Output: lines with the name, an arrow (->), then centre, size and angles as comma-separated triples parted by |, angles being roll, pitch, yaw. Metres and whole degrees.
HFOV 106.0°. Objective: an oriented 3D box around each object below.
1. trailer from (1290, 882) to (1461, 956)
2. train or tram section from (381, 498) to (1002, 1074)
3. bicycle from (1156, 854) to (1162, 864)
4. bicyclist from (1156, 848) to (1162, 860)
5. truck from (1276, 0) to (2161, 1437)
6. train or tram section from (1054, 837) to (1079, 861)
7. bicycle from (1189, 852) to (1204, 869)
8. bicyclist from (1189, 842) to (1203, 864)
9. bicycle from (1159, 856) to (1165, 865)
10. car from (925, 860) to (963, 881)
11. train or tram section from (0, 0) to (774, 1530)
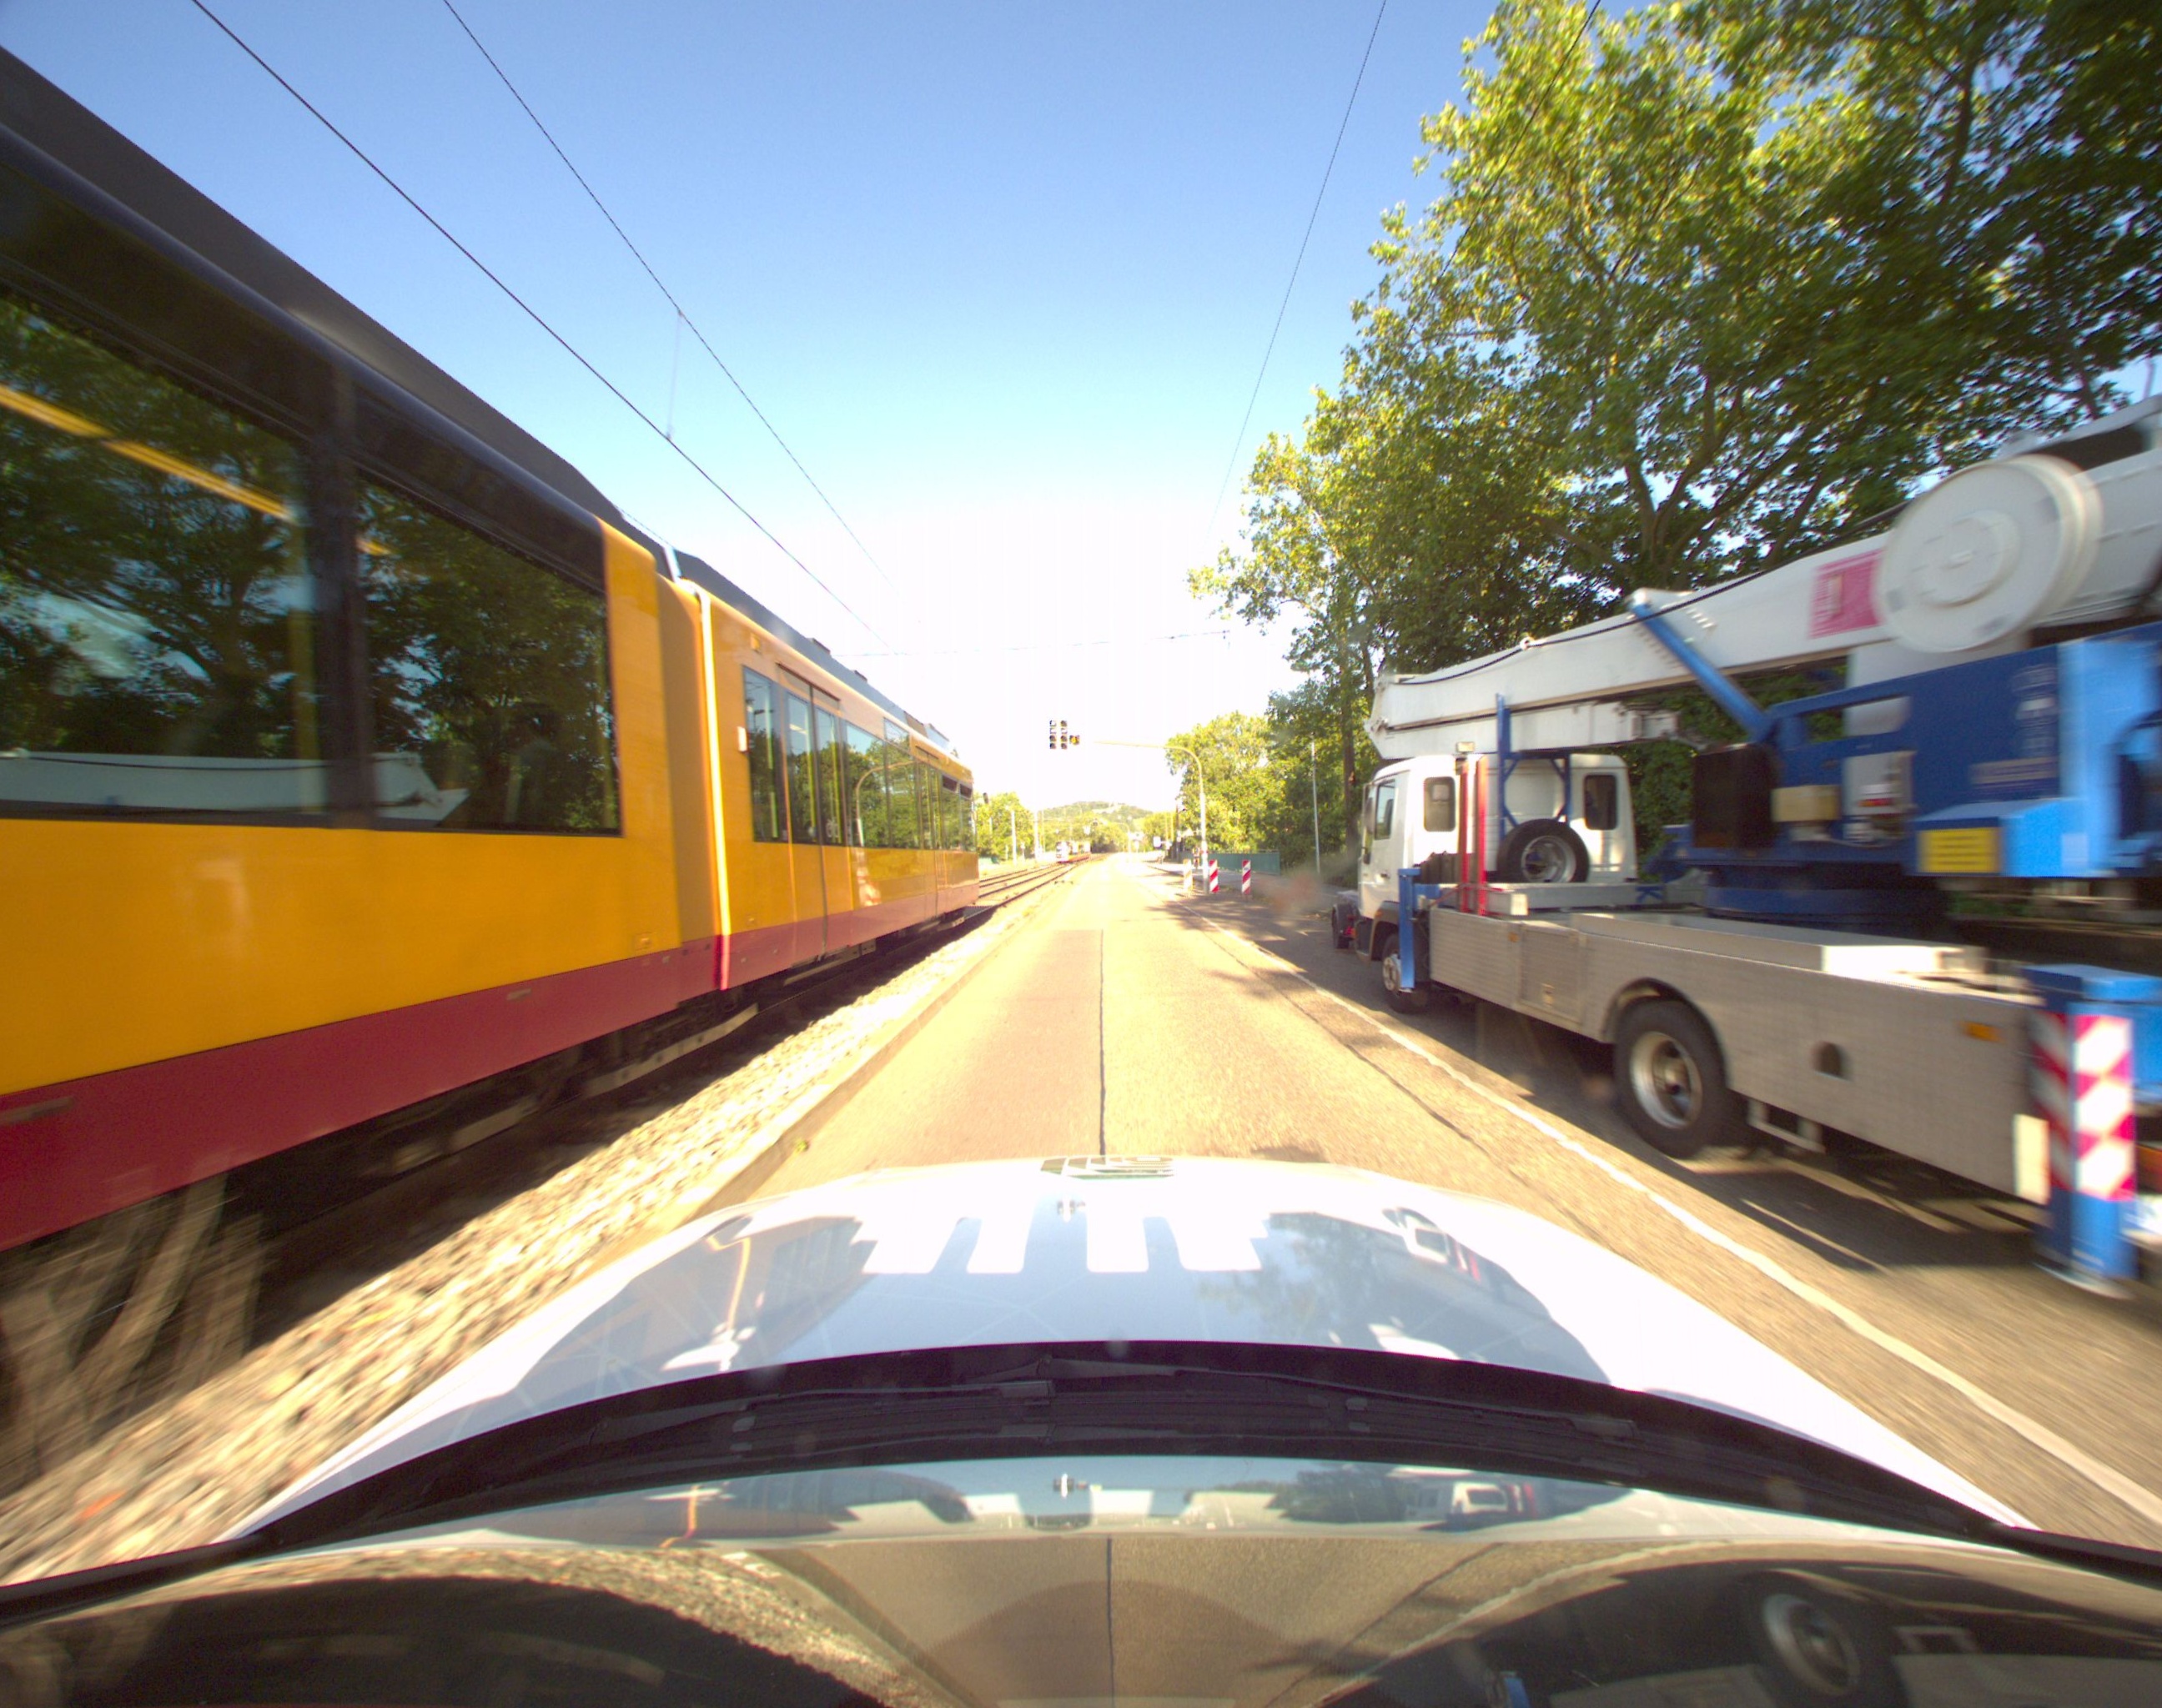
trailer -> 4.572, 0.967, 13.149 | 1.570, 0.859, 3.503 | -2, 0, 2
train or tram section -> -3.494, -0.519, 12.390 | 2.709, 4.089, 12.818 | -3, 0, 2
bicycle -> 8.715, 0.582, 90.590 | 0.513, 1.042, 1.976 | -2, 0, 2
bicyclist -> 8.688, -0.003, 90.613 | 0.602, 1.379, 0.975 | -2, 0, 1
truck -> 4.025, -0.527, 6.701 | 2.707, 3.783, 9.764 | 0, 0, 1
train or tram section -> -2.253, -0.786, 131.333 | 2.631, 3.566, 10.848 | -2, 0, 5
bicycle -> 8.399, 0.456, 59.147 | 0.725, 1.176, 2.695 | -3, 0, 2
bicyclist -> 8.373, -0.067, 59.171 | 0.821, 1.520, 0.975 | -2, 0, 1
bicycle -> 9.786, 0.748, 98.907 | 0.537, 1.042, 1.976 | -2, 0, 2
car -> -10.071, 1.201, 60.014 | 1.760, 1.413, 4.914 | -2, 0, 2
train or tram section -> -3.865, -0.471, 1.057 | 2.684, 4.089, 9.914 | -3, 0, 2
